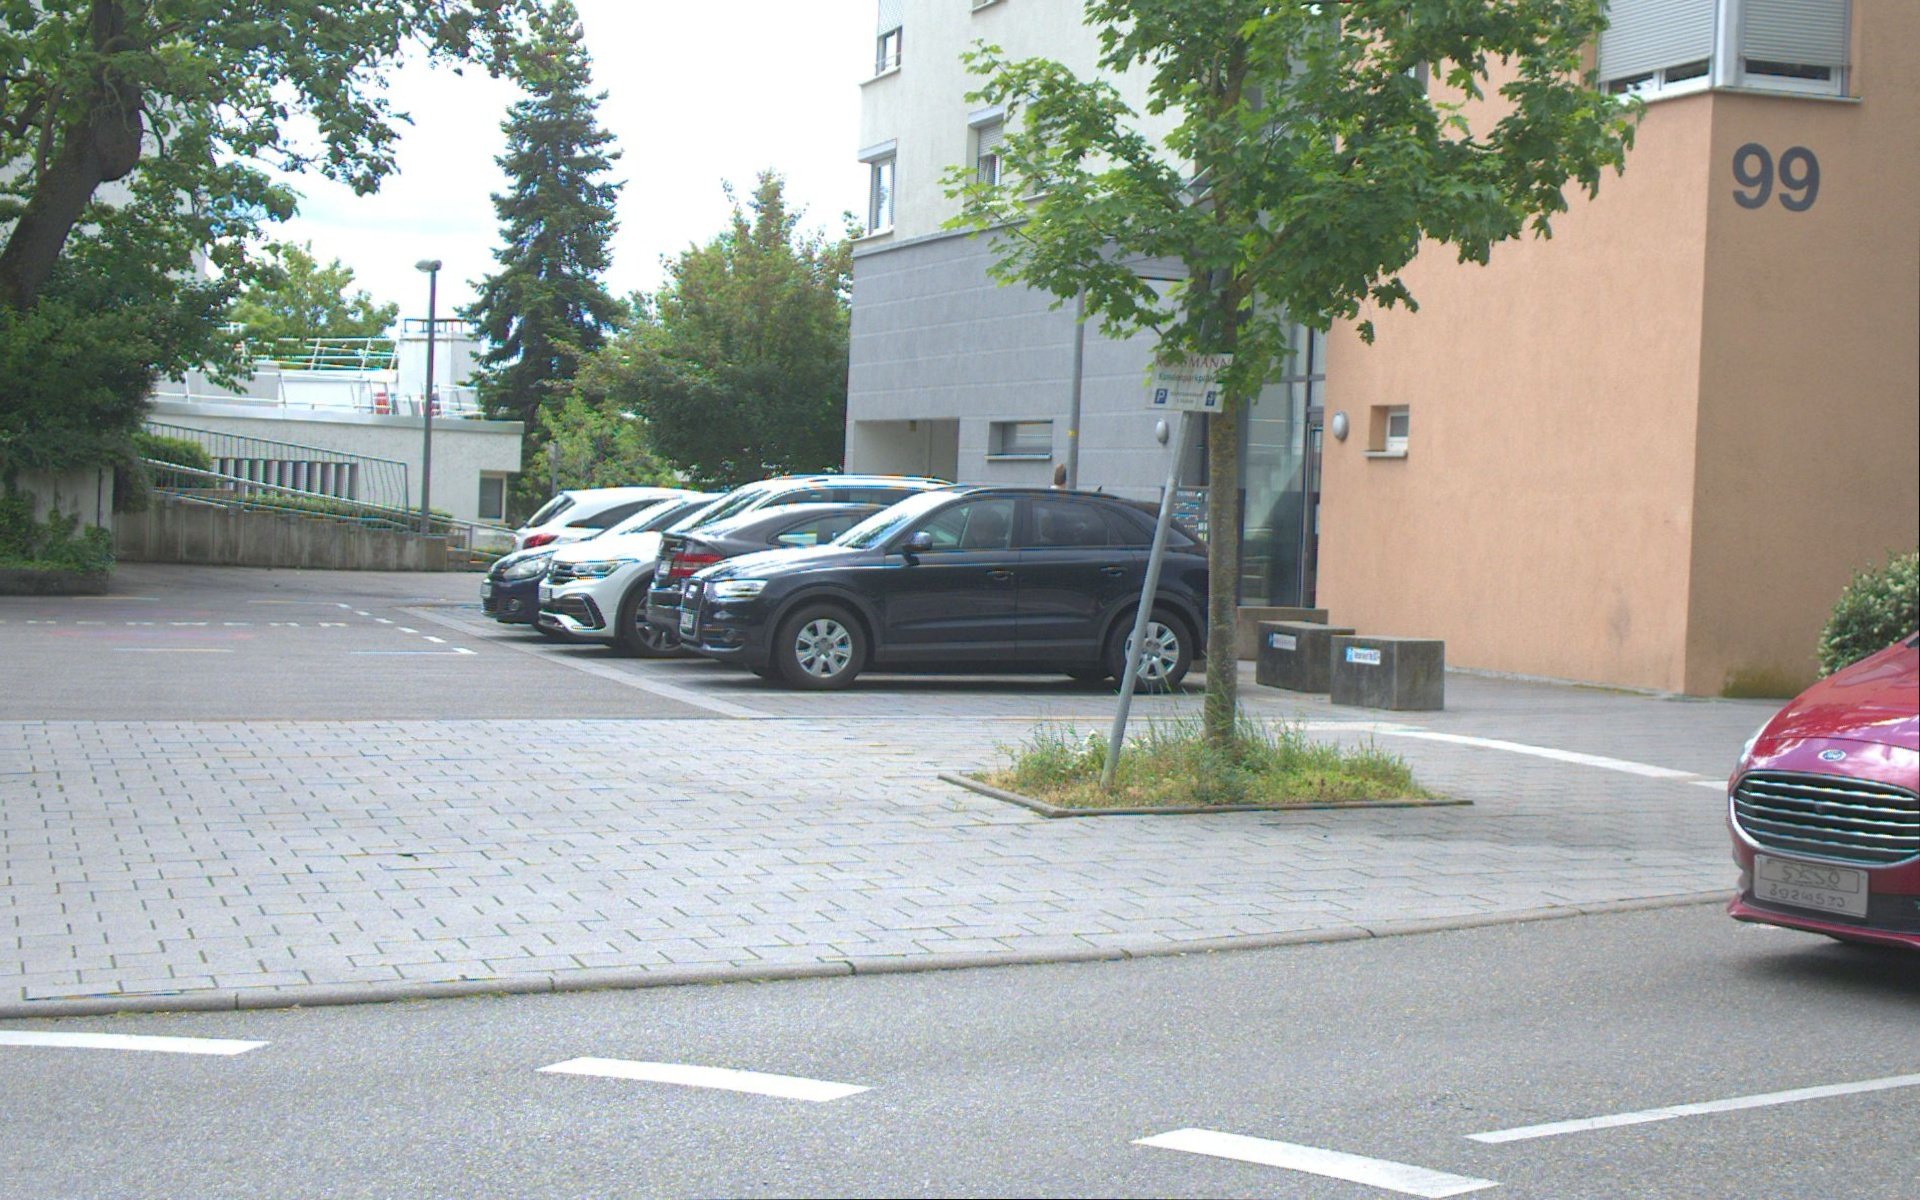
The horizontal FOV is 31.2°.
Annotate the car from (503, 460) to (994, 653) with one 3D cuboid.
[{"bbox_3d":[-1.935,-0.379,31.373,4.118,1.588,1.693,2,0,-21],"label":"car"}]

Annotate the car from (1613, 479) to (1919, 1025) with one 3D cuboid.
[{"bbox_3d":[4.687,0.392,11.761,4.520,1.639,1.981,-2,2,-26],"label":"car"}]

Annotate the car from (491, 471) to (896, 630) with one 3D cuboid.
[{"bbox_3d":[-2.828,-0.505,36.166,3.979,1.512,1.757,2,0,-14],"label":"car"}]

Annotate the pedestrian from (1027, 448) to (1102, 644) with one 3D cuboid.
[{"bbox_3d":[0.995,-0.517,32.883,0.478,1.846,0.507,2,0,-27],"label":"pedestrian"}]

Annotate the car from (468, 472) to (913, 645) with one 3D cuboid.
[{"bbox_3d":[-2.642,-0.392,33.374,4.040,1.512,1.756,2,0,-14],"label":"car"}]

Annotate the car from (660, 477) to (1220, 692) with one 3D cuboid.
[{"bbox_3d":[-0.187,-0.112,26.882,4.040,1.512,1.756,2,0,-14],"label":"car"}]

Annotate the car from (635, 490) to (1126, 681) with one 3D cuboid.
[{"bbox_3d":[-0.698,-0.118,29.001,3.826,1.454,1.693,2,0,-14],"label":"car"}]
